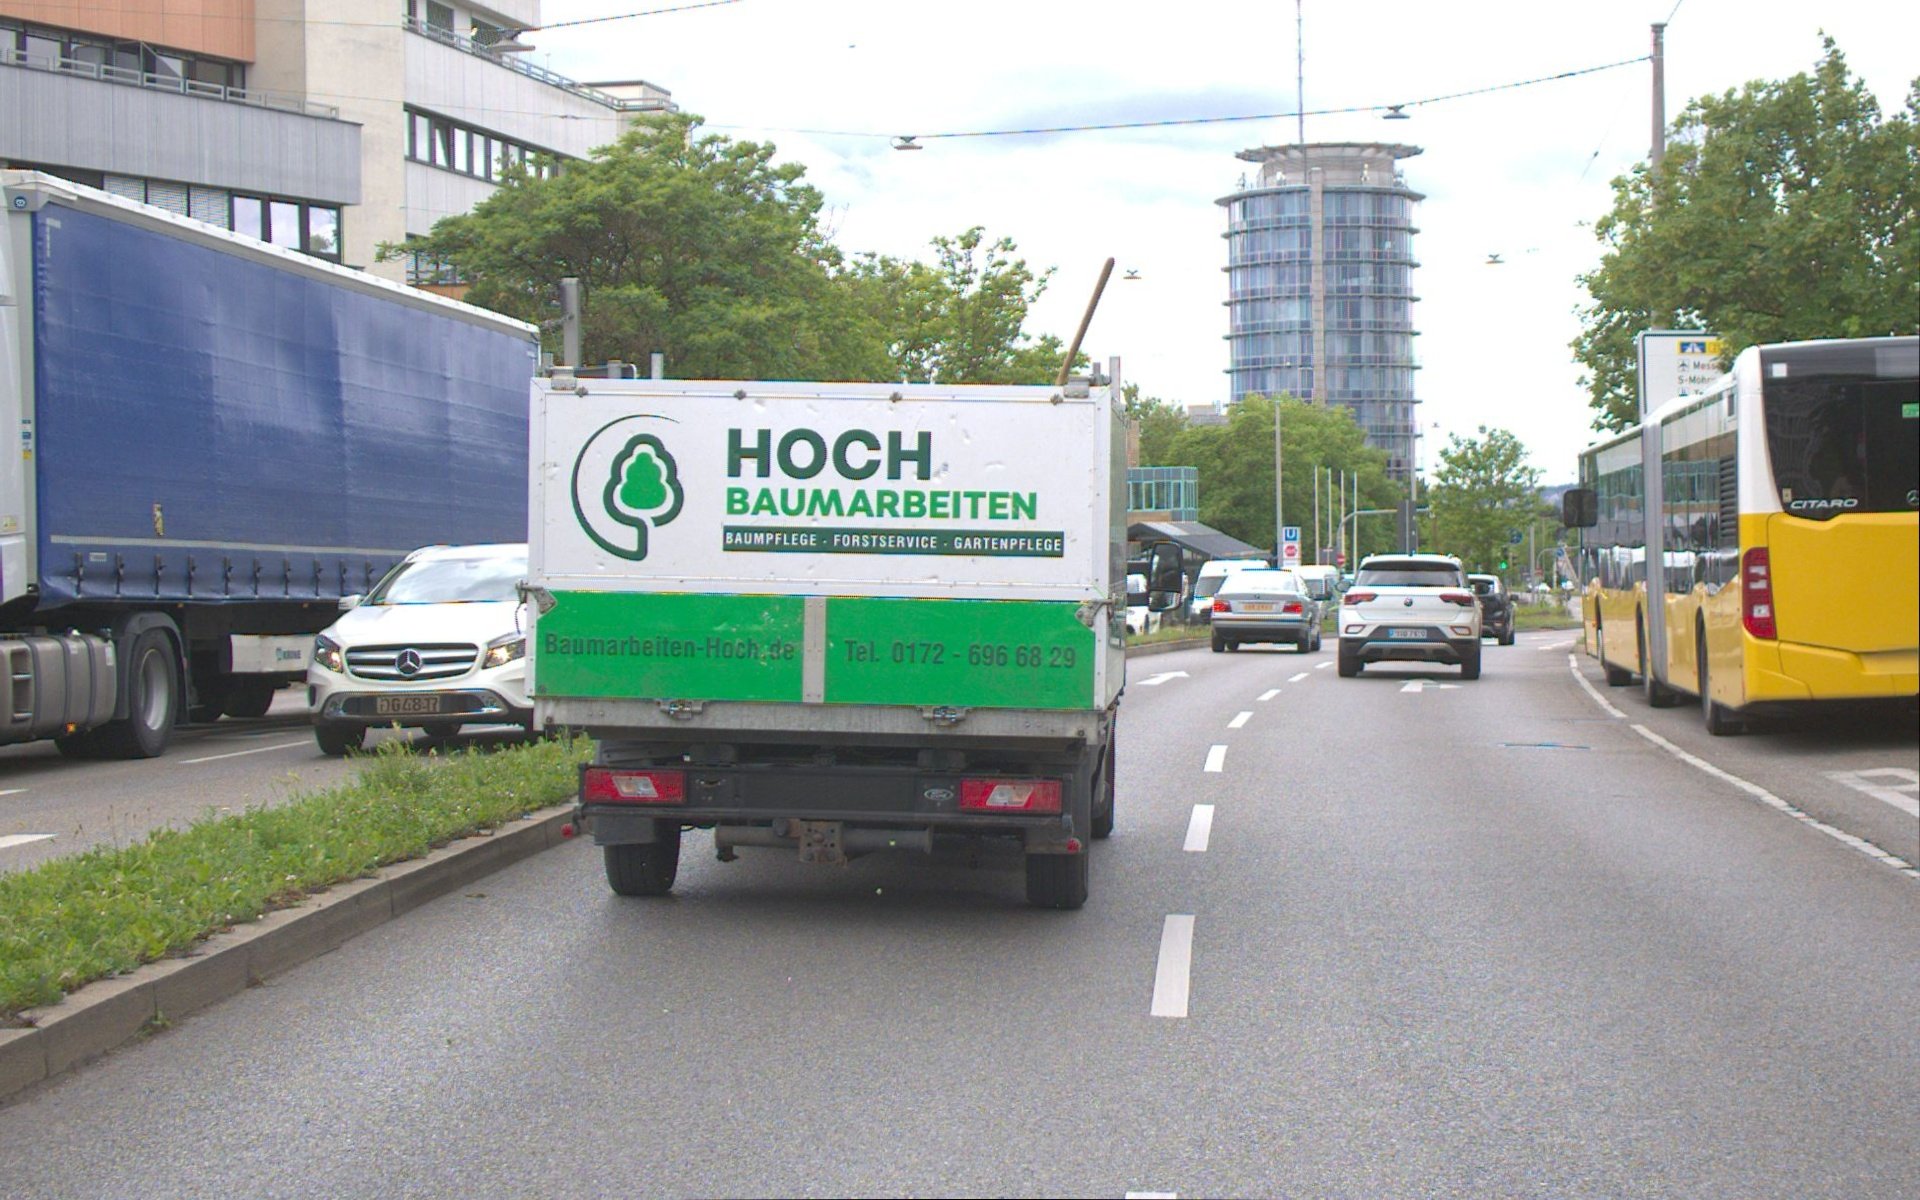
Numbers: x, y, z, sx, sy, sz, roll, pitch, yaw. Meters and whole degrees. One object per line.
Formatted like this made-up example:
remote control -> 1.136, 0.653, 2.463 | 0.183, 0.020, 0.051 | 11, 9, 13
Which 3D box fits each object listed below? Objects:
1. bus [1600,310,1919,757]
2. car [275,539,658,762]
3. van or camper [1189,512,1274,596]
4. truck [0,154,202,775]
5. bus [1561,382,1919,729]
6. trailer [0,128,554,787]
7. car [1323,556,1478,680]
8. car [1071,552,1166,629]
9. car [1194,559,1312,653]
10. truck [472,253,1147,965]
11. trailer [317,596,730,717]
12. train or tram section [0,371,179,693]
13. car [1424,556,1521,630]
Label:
bus -> 7.433, -0.522, 29.598 | 3.036, 3.225, 9.336 | -1, 0, 6
car -> -3.615, 0.315, 25.992 | 1.787, 1.511, 4.363 | 0, 1, 7
van or camper -> 8.856, -1.475, 111.622 | 1.994, 2.589, 6.113 | -2, 0, 11
truck -> -7.649, -0.885, 23.026 | 3.092, 4.008, 6.154 | 0, 1, 7
bus -> 8.518, -0.458, 38.250 | 2.983, 3.230, 9.863 | 3, 1, 7
trailer -> -6.829, -1.074, 29.477 | 3.103, 4.255, 14.843 | 0, 1, 7
car -> 5.649, 0.190, 44.351 | 1.868, 1.500, 4.772 | 0, 1, 7
car -> 3.225, -0.204, 69.266 | 1.588, 1.497, 3.717 | 0, 0, 8
car -> 5.024, 0.073, 58.505 | 1.868, 1.500, 4.772 | 0, 1, 7
truck -> -0.389, -0.030, 15.977 | 2.471, 2.602, 6.547 | 1, 1, 3
trailer -> -5.509, 0.657, 46.153 | 2.841, 1.328, 12.124 | -1, 0, 6
train or tram section -> -12.095, -0.742, 37.835 | 2.758, 3.573, 11.999 | 0, 1, 8
car -> 10.865, -0.176, 73.091 | 1.868, 1.500, 4.772 | 0, 1, 7
